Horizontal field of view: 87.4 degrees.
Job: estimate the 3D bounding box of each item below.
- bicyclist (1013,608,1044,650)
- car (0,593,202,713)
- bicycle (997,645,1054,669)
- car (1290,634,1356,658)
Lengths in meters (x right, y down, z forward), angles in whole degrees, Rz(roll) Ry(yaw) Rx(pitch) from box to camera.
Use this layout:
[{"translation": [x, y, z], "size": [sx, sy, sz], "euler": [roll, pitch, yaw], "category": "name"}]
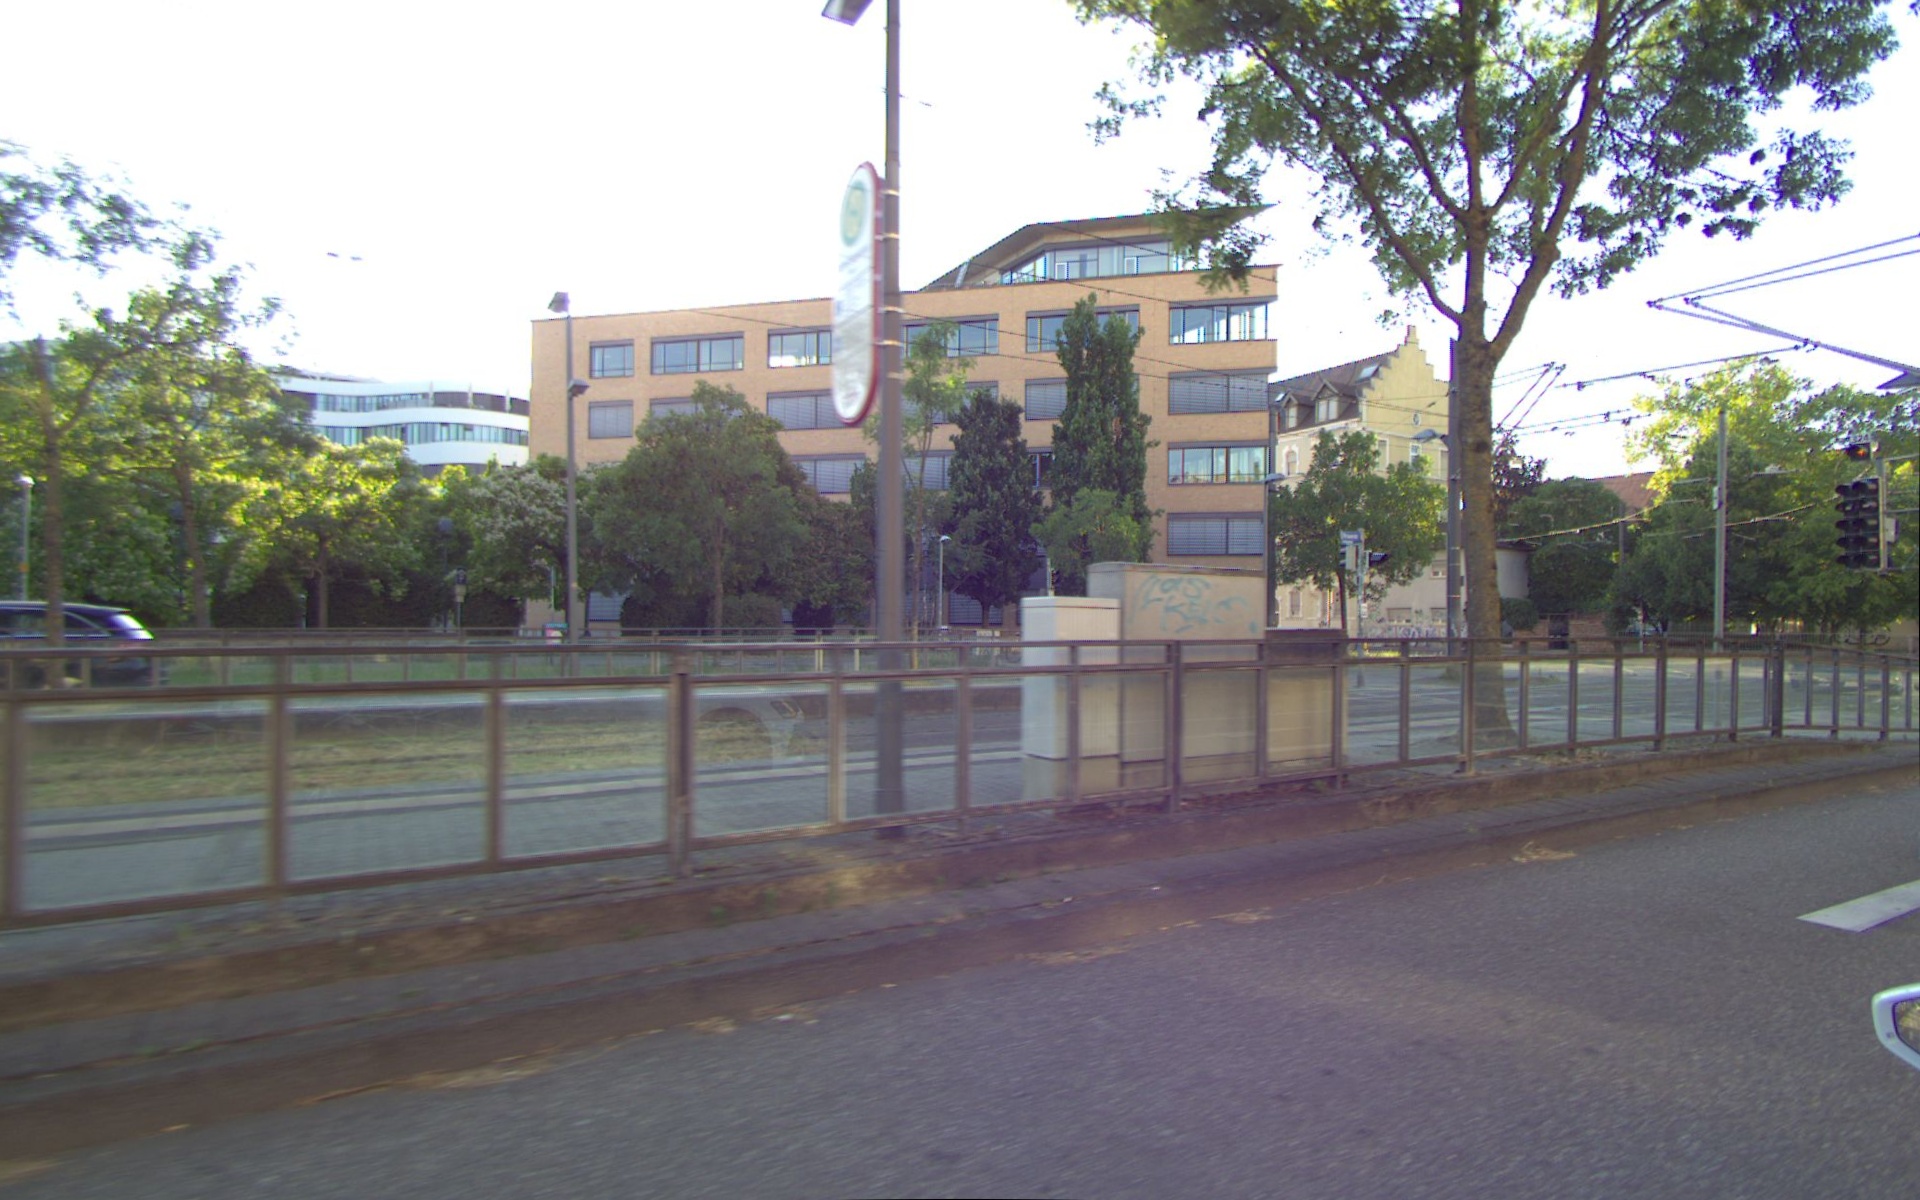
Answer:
[{"translation": [2.482, 1.043, 36.310], "size": [0.817, 1.487, 0.765], "euler": [1, -1, -28], "category": "bicyclist"}, {"translation": [-13.573, 0.697, 13.736], "size": [4.835, 1.572, 1.985], "euler": [1, -1, -30], "category": "car"}, {"translation": [2.363, 2.054, 36.243], "size": [1.941, 0.832, 0.771], "euler": [1, -1, -28], "category": "bicycle"}, {"translation": [24.866, 3.141, 68.861], "size": [1.977, 1.505, 3.967], "euler": [1, -1, -30], "category": "car"}]
